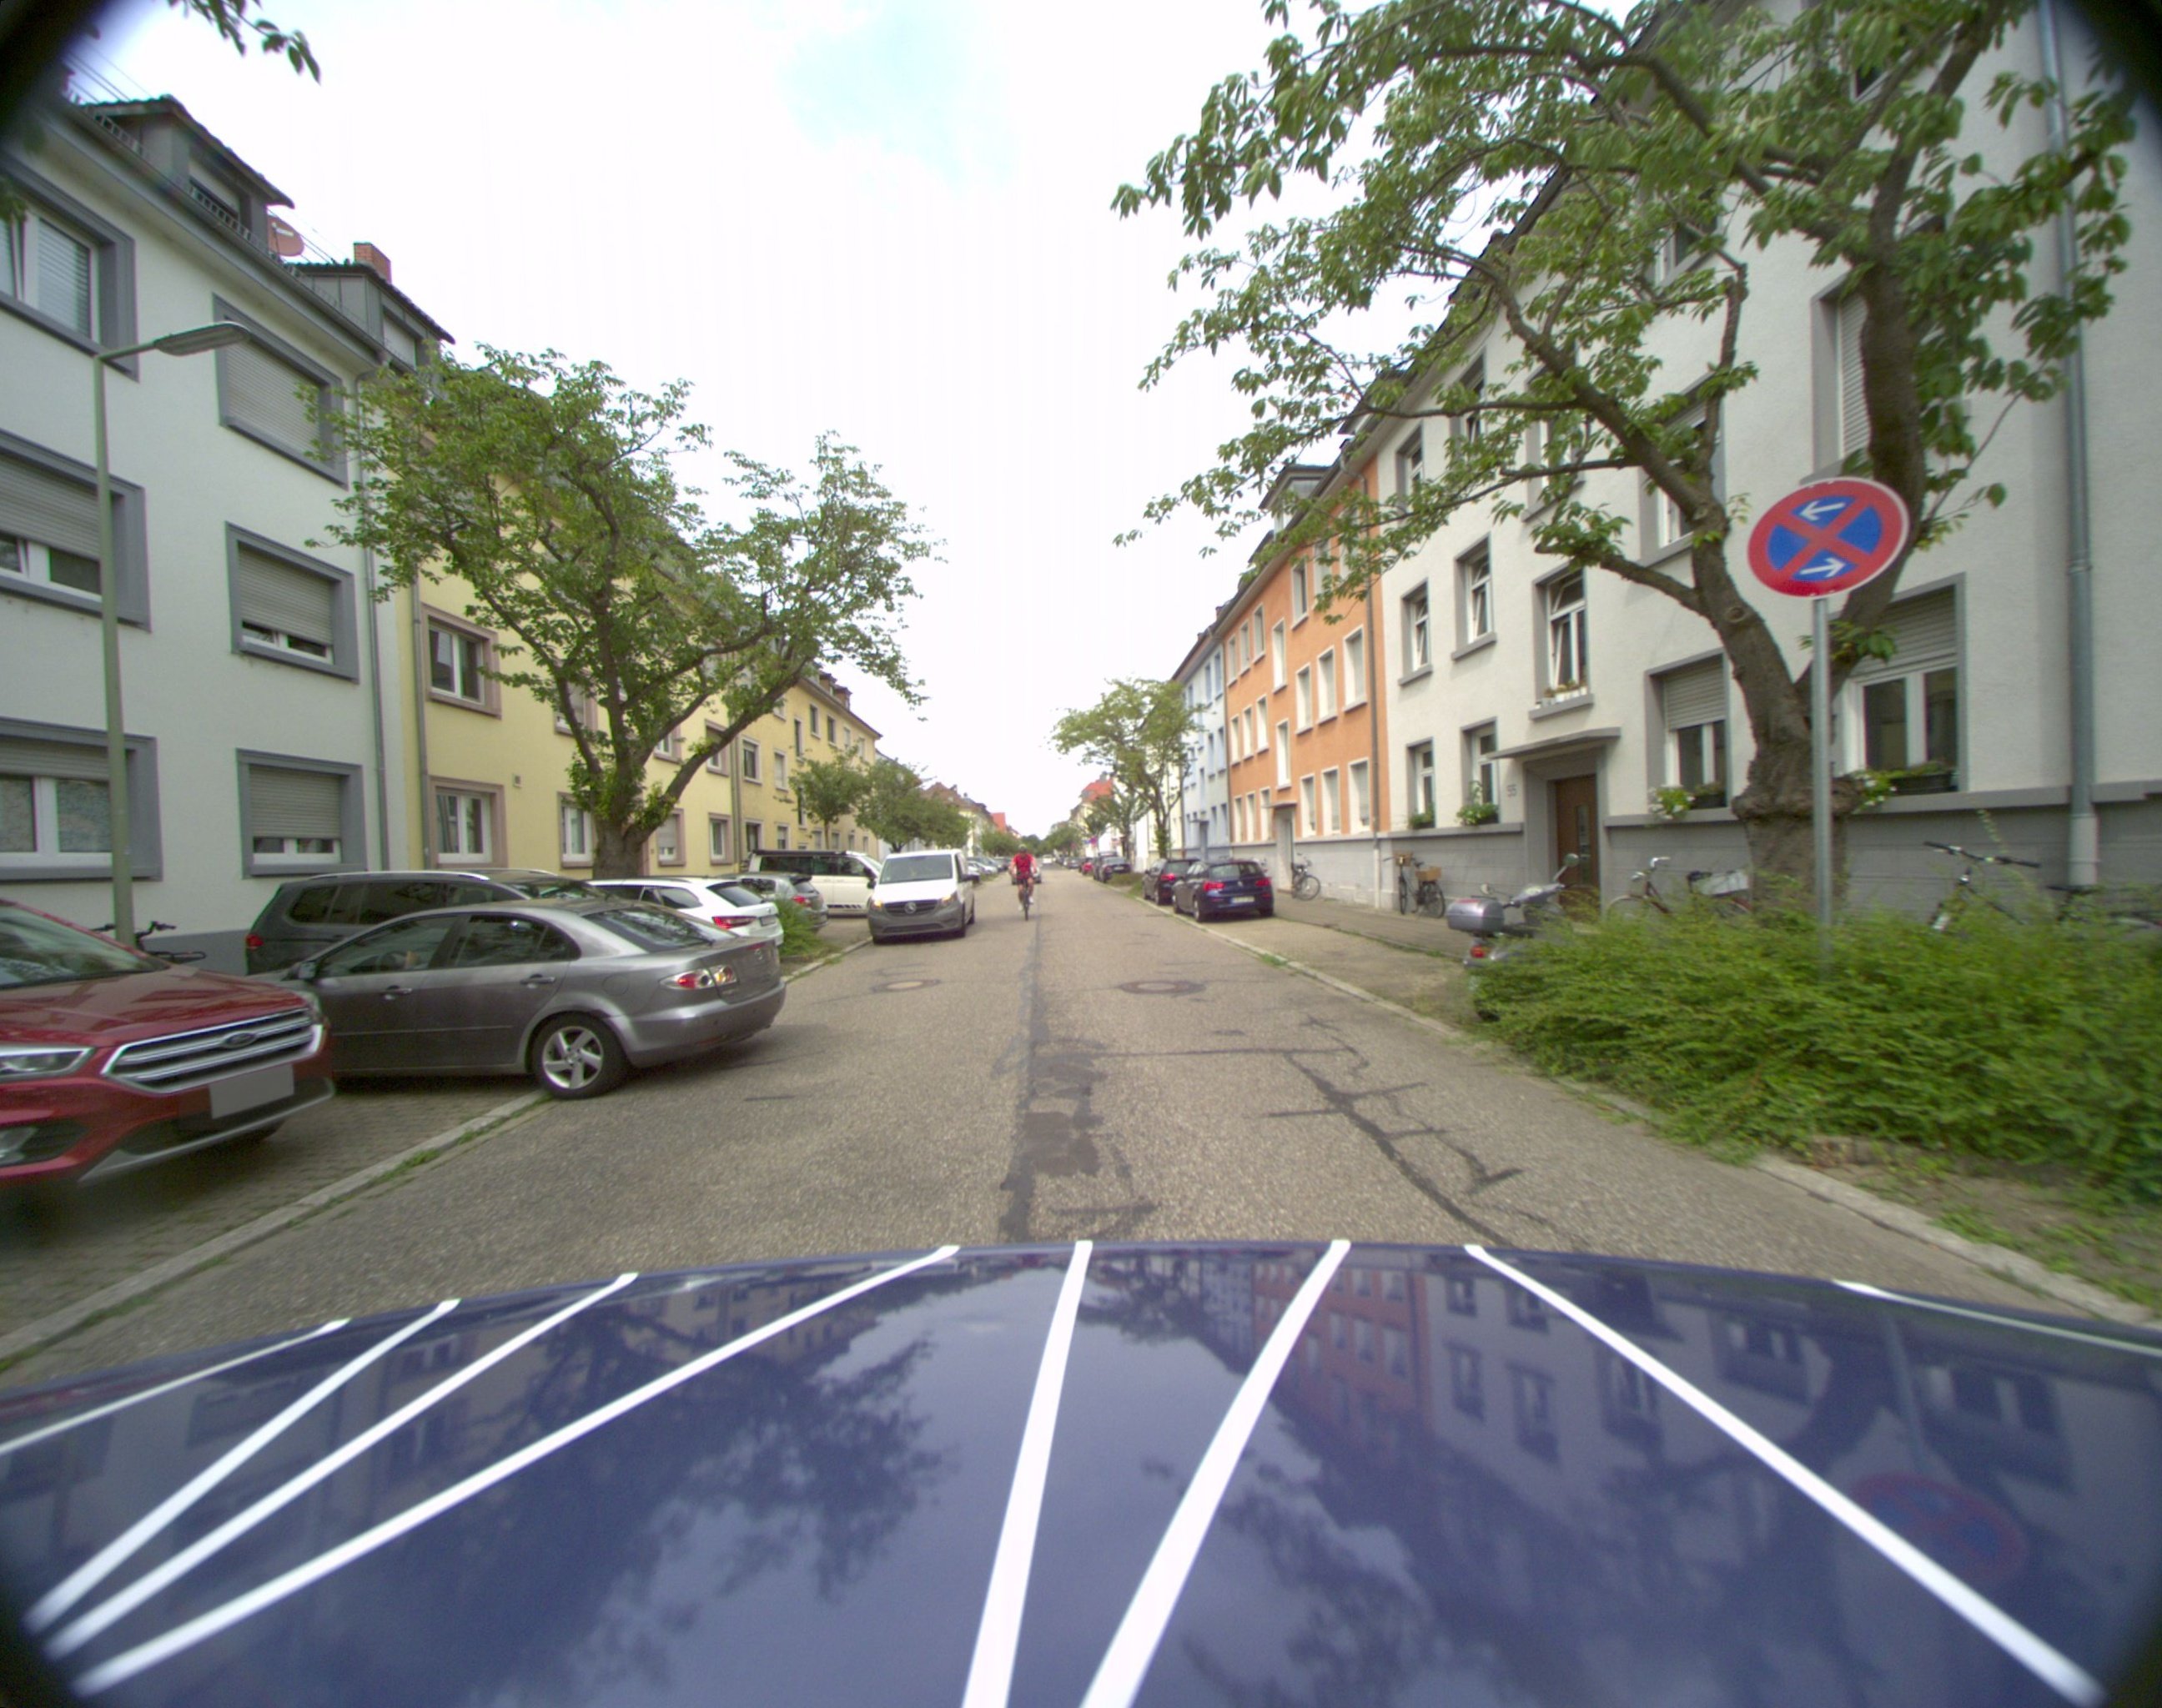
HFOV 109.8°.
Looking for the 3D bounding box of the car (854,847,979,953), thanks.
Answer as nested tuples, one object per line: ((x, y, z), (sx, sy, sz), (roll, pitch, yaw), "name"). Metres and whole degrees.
((-3.475, 0.871, 16.955), (1.999, 1.904, 4.701), (-4, 1, -5), "car")

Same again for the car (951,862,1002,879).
((-9.478, 1.484, 69.316), (4.404, 1.527, 1.870), (0, 1, -3), "car")

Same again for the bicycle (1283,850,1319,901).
((6.009, 0.557, 20.859), (0.430, 1.326, 1.811), (0, 1, -1), "bicycle")

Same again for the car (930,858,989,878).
((-9.553, 1.094, 59.922), (4.405, 1.491, 1.710), (0, 1, -4), "car")

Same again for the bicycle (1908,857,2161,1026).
((6.690, 0.530, 5.219), (0.421, 1.001, 1.434), (0, 1, -2), "bicycle")

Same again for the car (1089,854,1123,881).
((1.619, 0.834, 50.244), (1.698, 1.573, 4.247), (-3, 1, -4), "car")

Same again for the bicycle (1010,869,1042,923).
((-1.388, 1.045, 19.457), (0.693, 1.220, 1.936), (-3, 1, -3), "bicycle")

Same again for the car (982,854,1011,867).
((-10.272, 0.811, 92.245), (3.442, 1.438, 1.646), (-3, 0, -6), "car")

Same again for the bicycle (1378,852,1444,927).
((6.244, 0.627, 14.462), (0.430, 1.326, 1.811), (0, 1, -1), "bicycle")

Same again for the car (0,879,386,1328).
((-6.286, 0.995, 3.573), (4.225, 1.668, 1.903), (0, 1, -1), "car")

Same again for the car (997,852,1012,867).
((-9.882, 0.733, 98.031), (1.646, 1.817, 3.442), (-3, 1, -3), "car")

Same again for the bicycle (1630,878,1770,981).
((6.640, 0.765, 8.228), (0.310, 0.961, 1.434), (0, 1, -2), "bicycle")

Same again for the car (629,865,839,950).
((-6.981, 1.044, 15.613), (3.488, 1.565, 1.814), (0, 1, -4), "car")

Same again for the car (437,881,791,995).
((-6.480, 1.135, 10.902), (3.998, 1.412, 1.637), (0, 1, -3), "car")

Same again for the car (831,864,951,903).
((-7.803, 1.206, 31.564), (4.560, 1.501, 1.849), (0, 1, -5), "car")

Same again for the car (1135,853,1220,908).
((3.028, 0.786, 24.706), (1.842, 1.475, 4.091), (-4, 1, -5), "car")

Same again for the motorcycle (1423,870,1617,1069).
((3.814, 0.869, 6.526), (2.022, 1.399, 0.790), (-1, 1, -40), "motorcycle")

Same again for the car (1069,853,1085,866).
((-0.559, 0.652, 93.270), (1.712, 1.438, 3.441), (0, 1, -5), "car")

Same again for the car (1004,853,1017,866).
((-9.589, 0.698, 103.497), (1.646, 1.666, 3.442), (-3, 0, -3), "car")

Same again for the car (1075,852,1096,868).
((0.450, 0.551, 73.178), (1.712, 1.477, 3.441), (0, 1, -5), "car")

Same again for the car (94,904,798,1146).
((-4.578, 1.204, 6.037), (3.998, 1.446, 1.766), (0, 1, -3), "car")

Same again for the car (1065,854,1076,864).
((-1.703, 0.776, 121.448), (1.711, 1.495, 3.442), (0, 1, -3), "car")

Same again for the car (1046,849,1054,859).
((-6.412, 0.008, 157.230), (1.757, 2.098, 3.620), (0, 1, -3), "car")

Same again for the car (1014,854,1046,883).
((-3.103, 0.871, 46.867), (1.789, 1.595, 4.834), (-2, 1, -3), "car")

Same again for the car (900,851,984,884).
((-8.356, 0.809, 45.974), (4.752, 1.899, 1.850), (0, 1, -3), "car")

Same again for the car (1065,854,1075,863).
((-1.889, 0.736, 129.286), (1.626, 1.495, 3.442), (0, 1, -3), "car")

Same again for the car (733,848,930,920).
((-7.263, 0.835, 22.630), (5.245, 2.011, 2.072), (0, 1, -7), "car")

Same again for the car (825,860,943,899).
((-7.488, 0.955, 29.241), (4.105, 1.406, 1.849), (0, 1, -5), "car")

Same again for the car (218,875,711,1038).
((-6.514, 1.032, 8.405), (3.998, 1.527, 1.637), (0, 1, -3), "car")

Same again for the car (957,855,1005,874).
((-10.148, 1.053, 77.419), (4.721, 1.817, 1.870), (0, 1, -3), "car")

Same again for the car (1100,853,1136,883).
((2.124, 0.774, 44.143), (1.706, 1.533, 4.248), (-2, 1, -2), "car")

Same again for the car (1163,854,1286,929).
((3.387, 0.820, 18.761), (1.841, 1.475, 4.119), (-5, 1, -5), "car")

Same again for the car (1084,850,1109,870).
((1.268, 0.498, 63.103), (1.712, 1.591, 4.114), (0, 1, -5), "car")

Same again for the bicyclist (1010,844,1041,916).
((-1.409, 0.635, 19.407), (0.694, 1.760, 0.986), (-3, 1, -3), "bicyclist")
